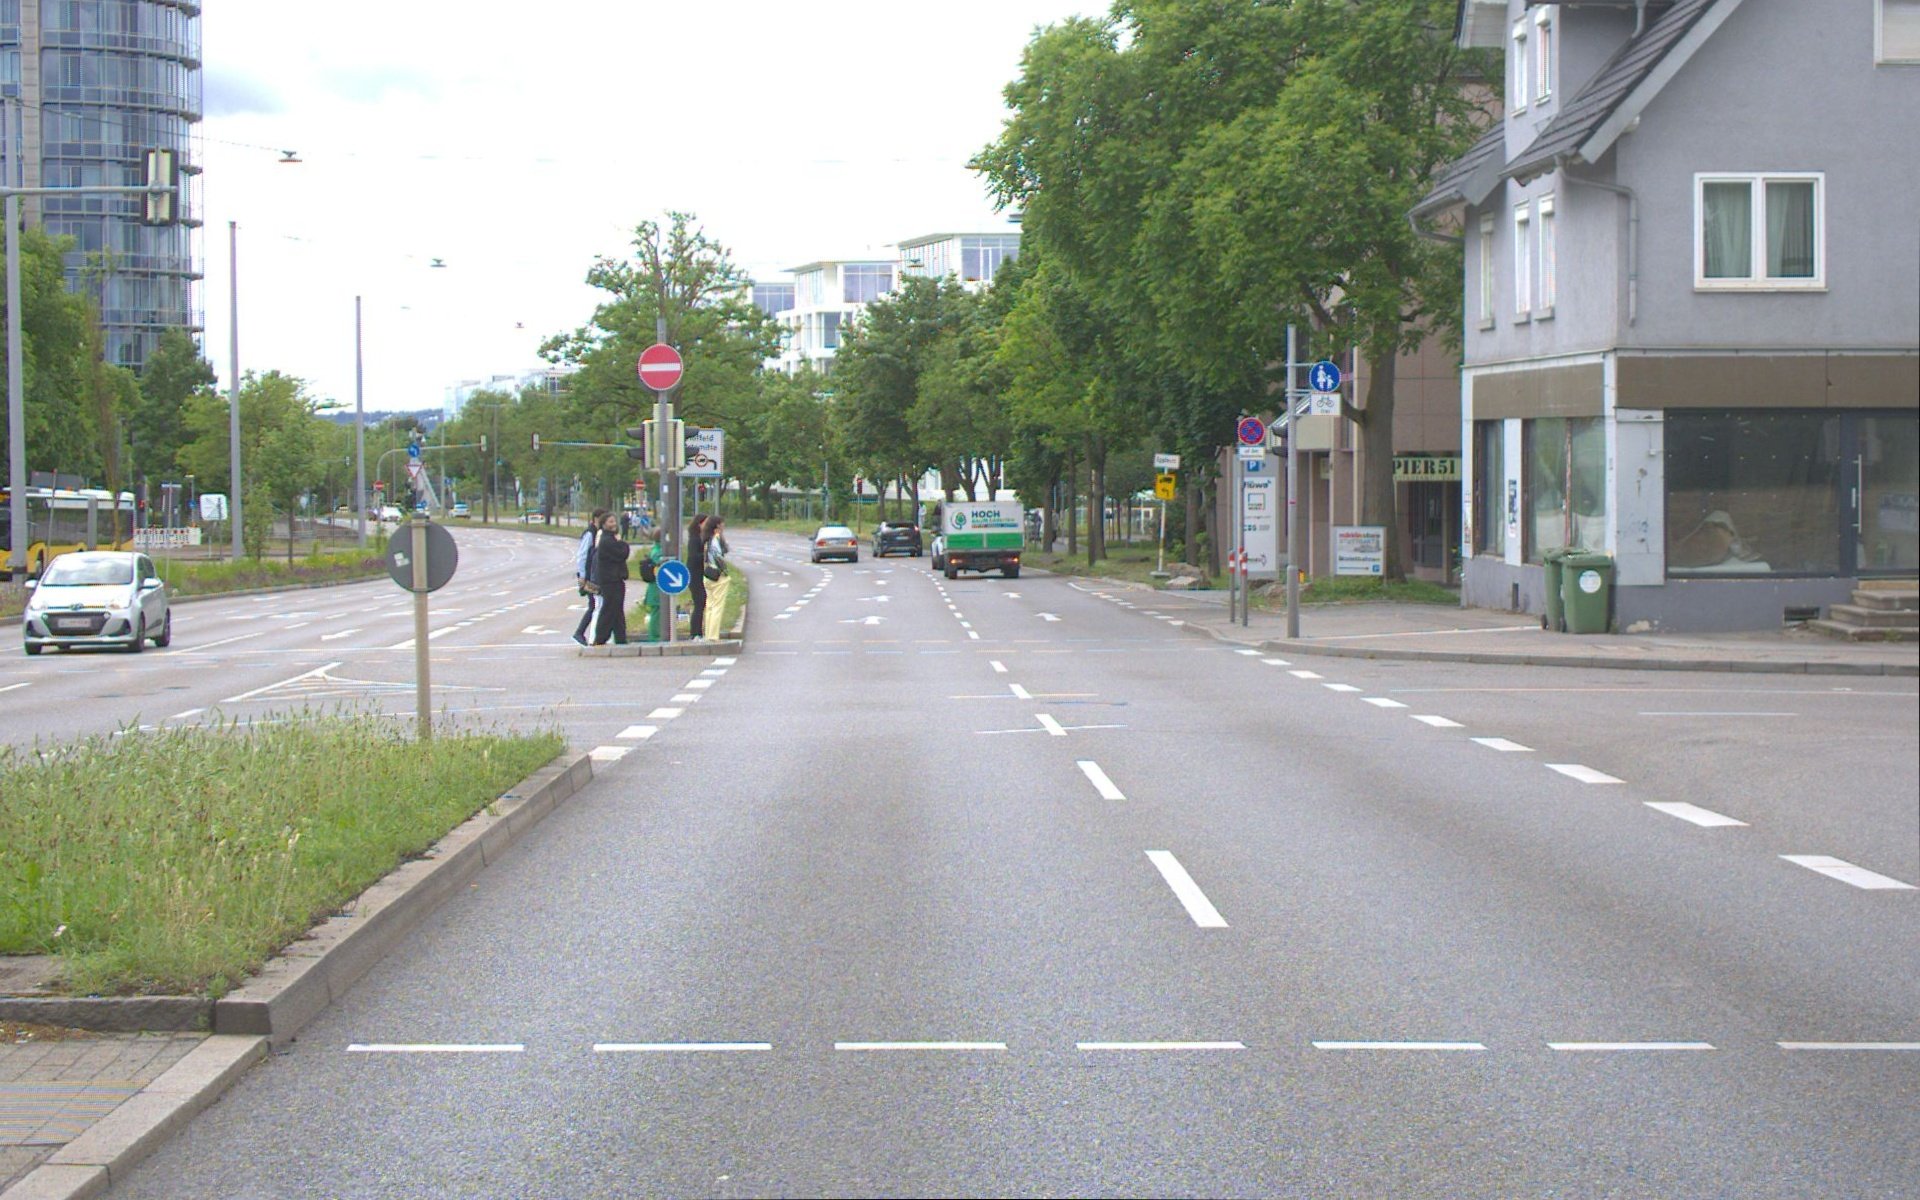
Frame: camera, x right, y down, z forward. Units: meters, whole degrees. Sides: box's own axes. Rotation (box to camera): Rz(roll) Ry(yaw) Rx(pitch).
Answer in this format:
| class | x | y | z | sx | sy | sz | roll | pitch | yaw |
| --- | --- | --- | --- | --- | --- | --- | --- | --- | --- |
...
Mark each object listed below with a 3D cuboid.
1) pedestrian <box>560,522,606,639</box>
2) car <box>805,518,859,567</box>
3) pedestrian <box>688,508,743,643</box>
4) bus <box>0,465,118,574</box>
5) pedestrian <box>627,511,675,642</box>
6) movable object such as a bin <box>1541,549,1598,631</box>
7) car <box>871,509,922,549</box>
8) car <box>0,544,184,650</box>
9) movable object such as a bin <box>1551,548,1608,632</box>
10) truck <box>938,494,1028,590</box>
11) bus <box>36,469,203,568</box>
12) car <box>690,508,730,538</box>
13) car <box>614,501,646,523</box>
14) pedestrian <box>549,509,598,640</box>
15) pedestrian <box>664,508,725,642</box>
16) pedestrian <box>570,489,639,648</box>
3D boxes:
| class | x | y | z | sx | sy | sz | roll | pitch | yaw |
| --- | --- | --- | --- | --- | --- | --- | --- | --- | --- |
| pedestrian | -4.877 | -0.256 | 44.442 | 0.543 | 1.491 | 0.487 | -1 | 1 | -10 |
| car | -4.918 | -2.227 | 132.332 | 1.993 | 1.824 | 4.000 | 0 | 1 | -1 |
| pedestrian | -3.126 | -0.313 | 43.979 | 0.653 | 1.710 | 0.452 | -1 | 1 | -7 |
| bus | -30.996 | -2.636 | 114.085 | 2.832 | 3.419 | 10.732 | -1 | 1 | 3 |
| pedestrian | -4.068 | -0.314 | 45.259 | 0.583 | 1.710 | 0.546 | -1 | 1 | -7 |
| movable object such as a bin | 7.909 | -0.135 | 44.623 | 0.616 | 1.039 | 0.589 | 1 | 1 | 1 |
| car | -2.582 | -2.887 | 139.919 | 1.993 | 1.546 | 4.000 | 1 | 1 | -1 |
| car | -12.892 | -0.071 | 50.943 | 1.993 | 1.481 | 4.000 | -1 | 1 | -2 |
| movable object such as a bin | 7.909 | -0.129 | 43.907 | 0.604 | 1.056 | 0.589 | 1 | 1 | 1 |
| truck | 0.666 | -1.716 | 99.098 | 2.471 | 2.602 | 6.548 | 1 | 2 | 0 |
| bus | -30.384 | -2.933 | 124.823 | 2.832 | 3.419 | 10.732 | -1 | 1 | 3 |
| car | -12.800 | -3.961 | 176.205 | 1.993 | 1.514 | 4.001 | -1 | 1 | -4 |
| car | -23.734 | -6.313 | 247.382 | 1.993 | 1.546 | 4.001 | -1 | 1 | -10 |
| pedestrian | -5.086 | -0.335 | 45.277 | 0.612 | 1.710 | 0.546 | -1 | 1 | -7 |
| pedestrian | -3.446 | -0.330 | 44.547 | 0.745 | 1.710 | 0.583 | -1 | 1 | -7 |
| pedestrian | -4.530 | -0.405 | 43.787 | 0.829 | 2.007 | 0.546 | -1 | 1 | -7 |
